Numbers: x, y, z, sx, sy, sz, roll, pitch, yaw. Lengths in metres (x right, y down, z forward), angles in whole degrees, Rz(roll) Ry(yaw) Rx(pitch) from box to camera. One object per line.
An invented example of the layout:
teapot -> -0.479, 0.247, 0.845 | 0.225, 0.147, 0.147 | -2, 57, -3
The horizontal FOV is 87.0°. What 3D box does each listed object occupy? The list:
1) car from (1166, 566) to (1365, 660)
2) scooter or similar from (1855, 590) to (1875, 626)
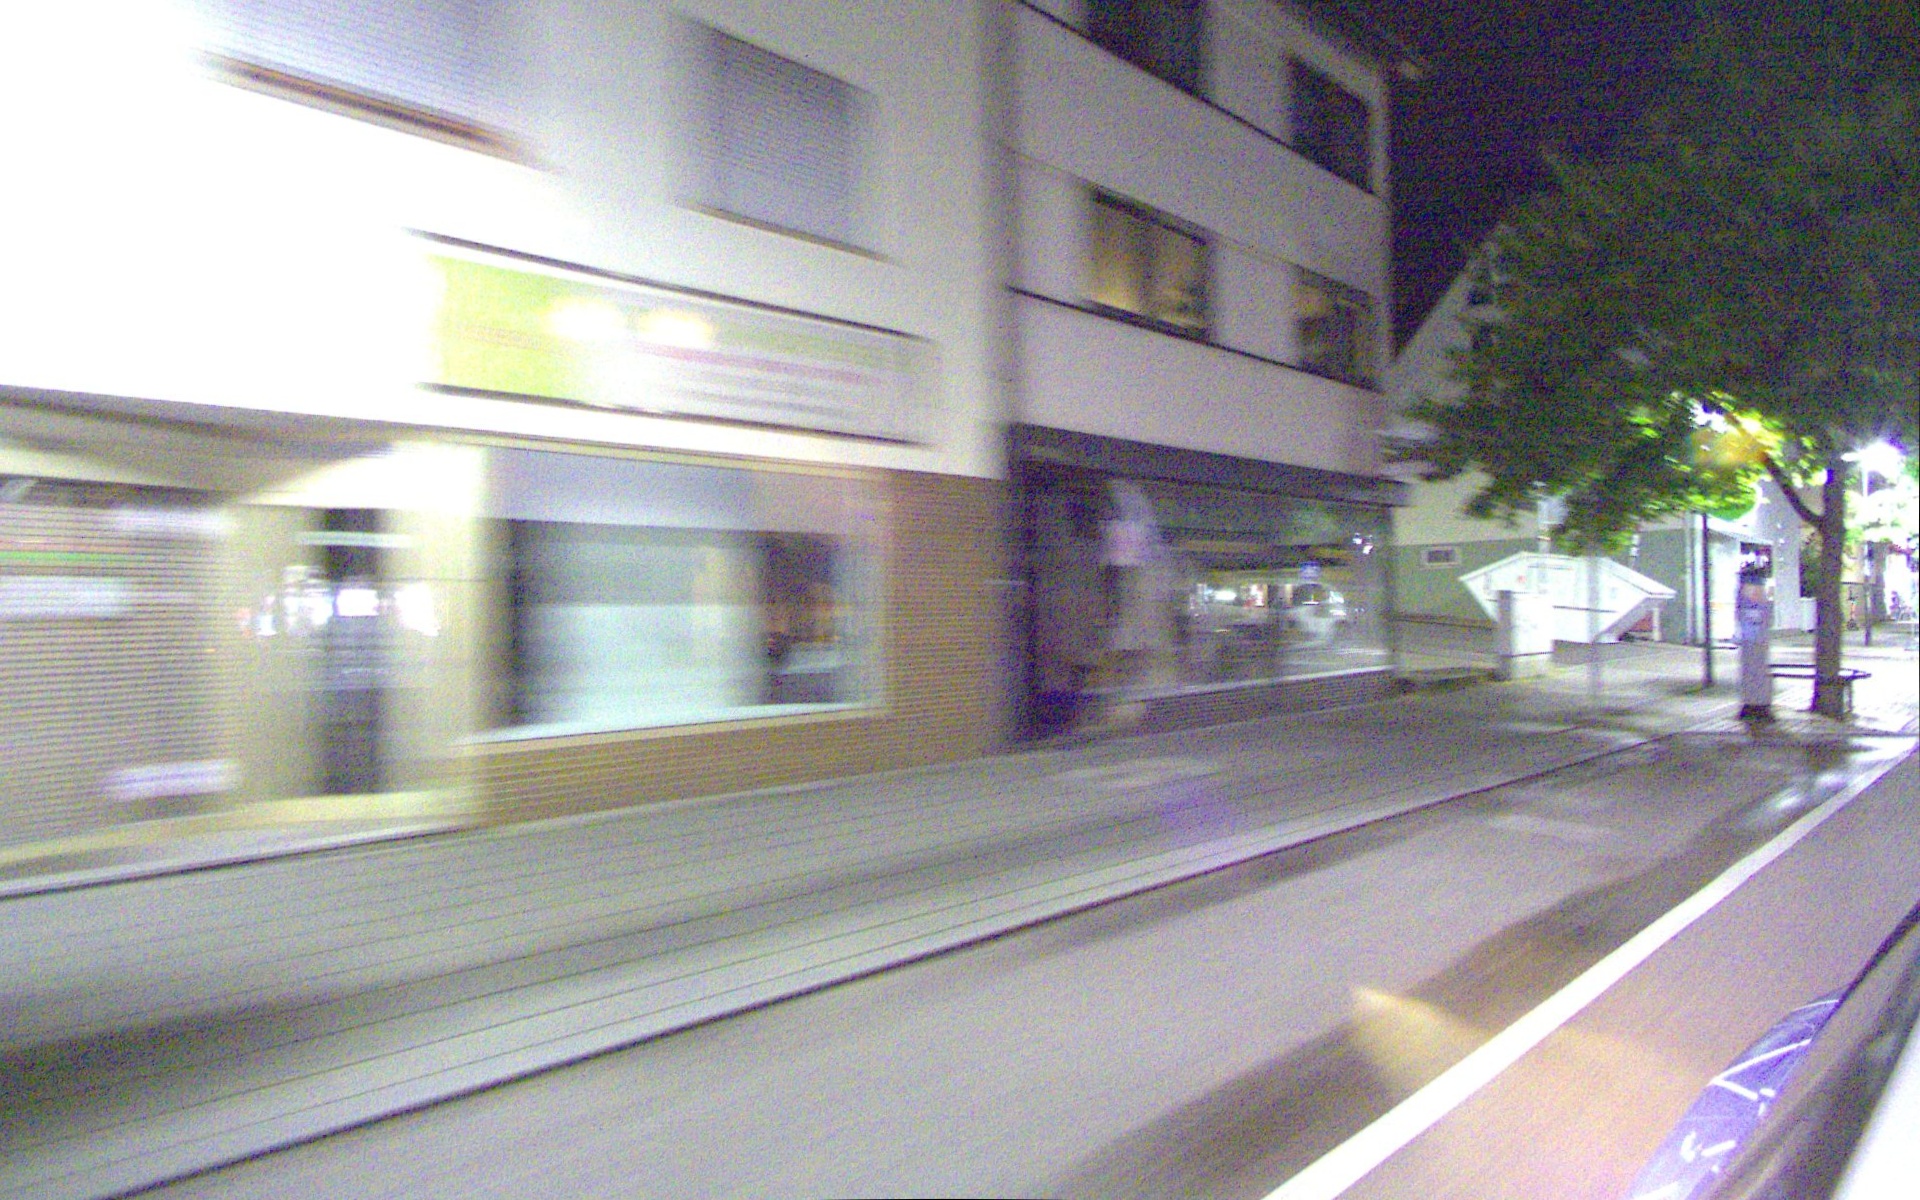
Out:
car -> 5.920, 0.157, 19.405 | 3.988, 1.477, 1.808 | -3, 6, -42
scooter or similar -> 33.583, 0.279, 37.555 | 1.282, 1.292, 0.374 | -2, 1, -40
